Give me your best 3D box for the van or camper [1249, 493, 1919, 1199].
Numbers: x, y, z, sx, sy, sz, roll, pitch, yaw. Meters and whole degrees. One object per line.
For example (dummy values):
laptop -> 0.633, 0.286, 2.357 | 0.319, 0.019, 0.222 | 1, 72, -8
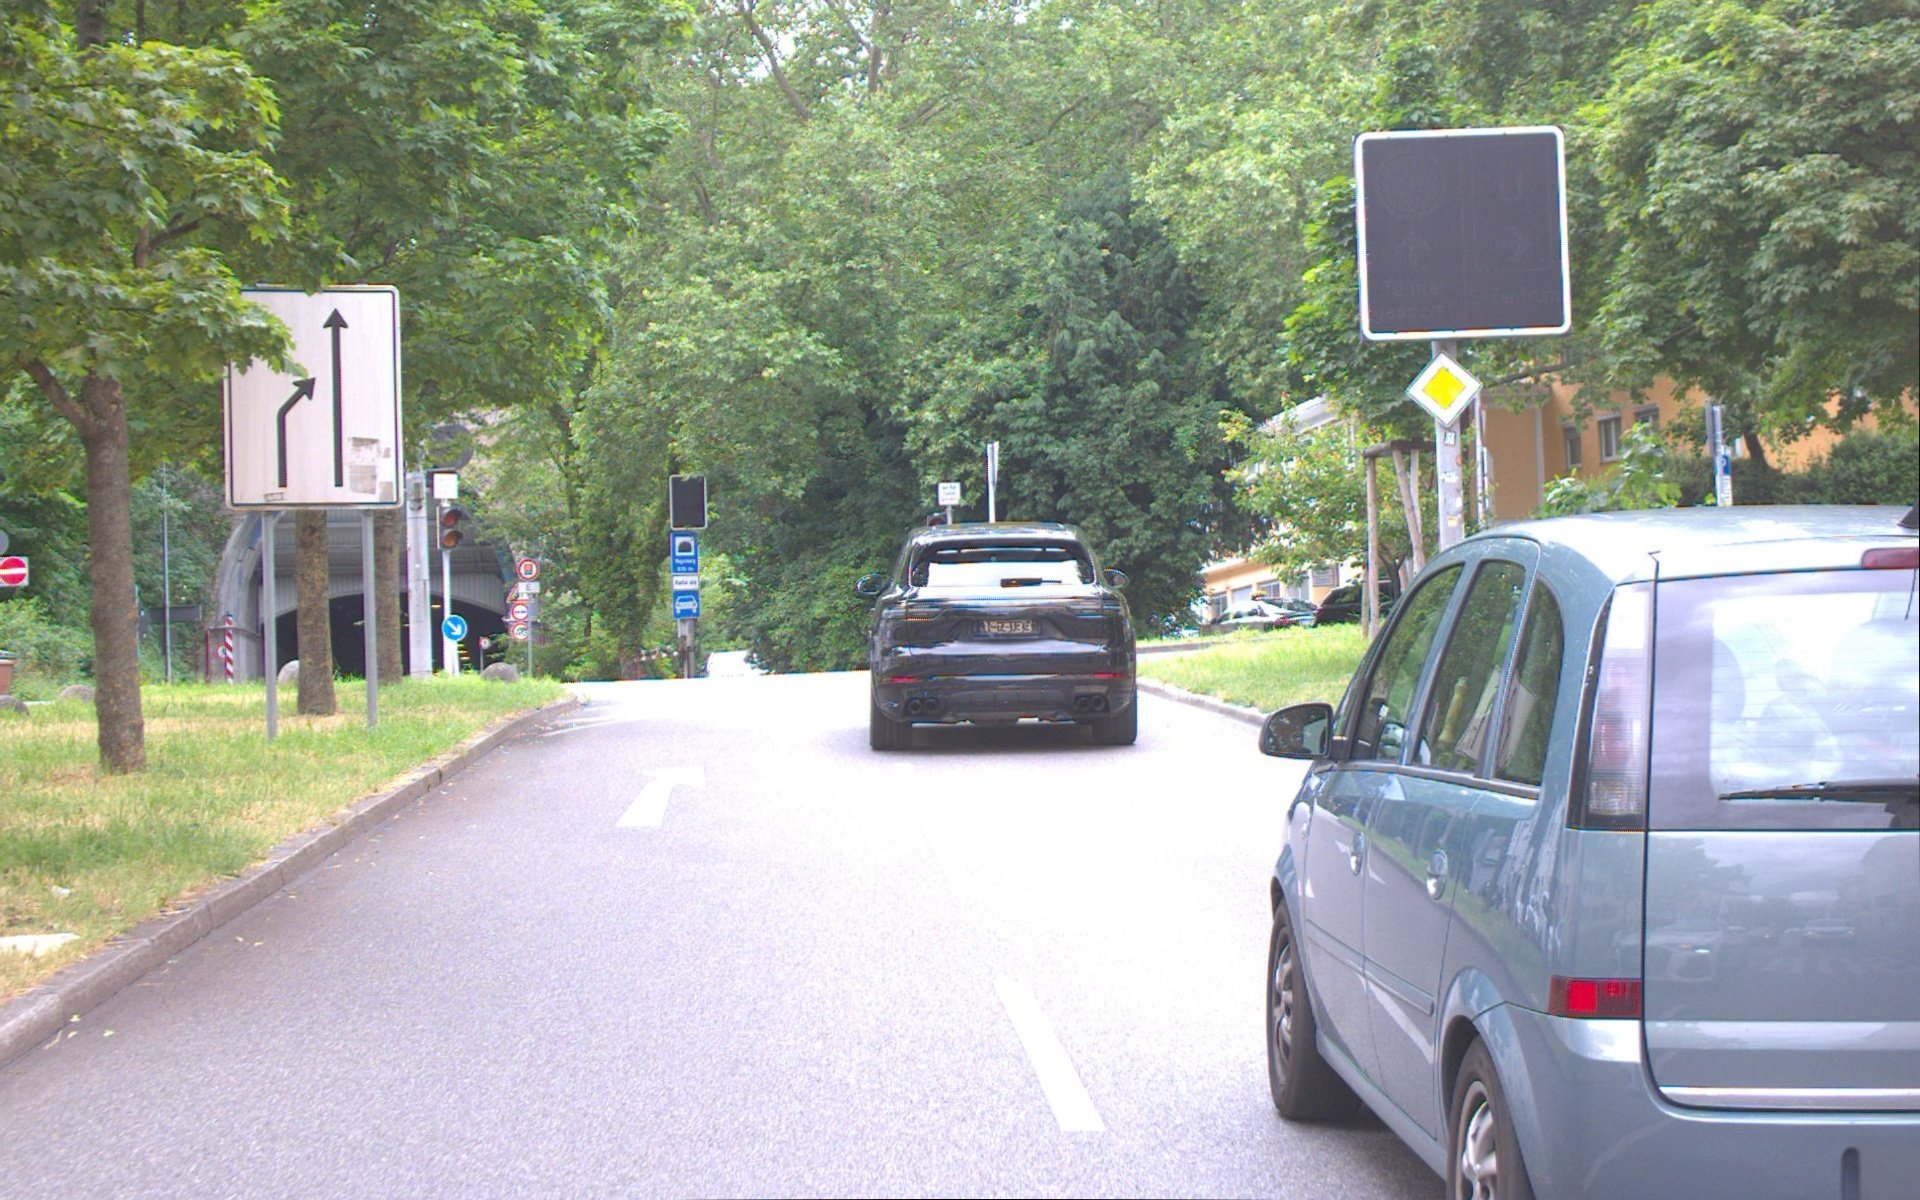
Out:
van or camper -> 1.727, 0.595, 7.524 | 1.735, 1.572, 3.646 | 0, 1, -2

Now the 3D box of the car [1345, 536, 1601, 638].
car -> 7.969, -0.215, 53.216 | 1.998, 1.413, 3.990 | -2, 0, 42

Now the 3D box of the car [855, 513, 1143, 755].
car -> 0.233, 0.251, 26.544 | 1.993, 1.647, 4.000 | -2, 0, -1

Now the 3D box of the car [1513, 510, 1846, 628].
car -> 10.062, -0.447, 48.184 | 4.116, 1.423, 1.863 | -3, 1, -12

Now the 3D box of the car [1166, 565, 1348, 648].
car -> 6.679, 0.171, 77.927 | 1.993, 1.573, 4.905 | -2, -2, -22

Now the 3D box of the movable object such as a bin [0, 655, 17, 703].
movable object such as a bin -> -19.398, 1.600, 69.632 | 0.515, 0.964, 0.444 | 2, -3, -18

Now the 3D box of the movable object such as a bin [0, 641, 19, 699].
movable object such as a bin -> -19.523, 1.426, 70.099 | 0.604, 1.182, 0.492 | 2, -3, -18
